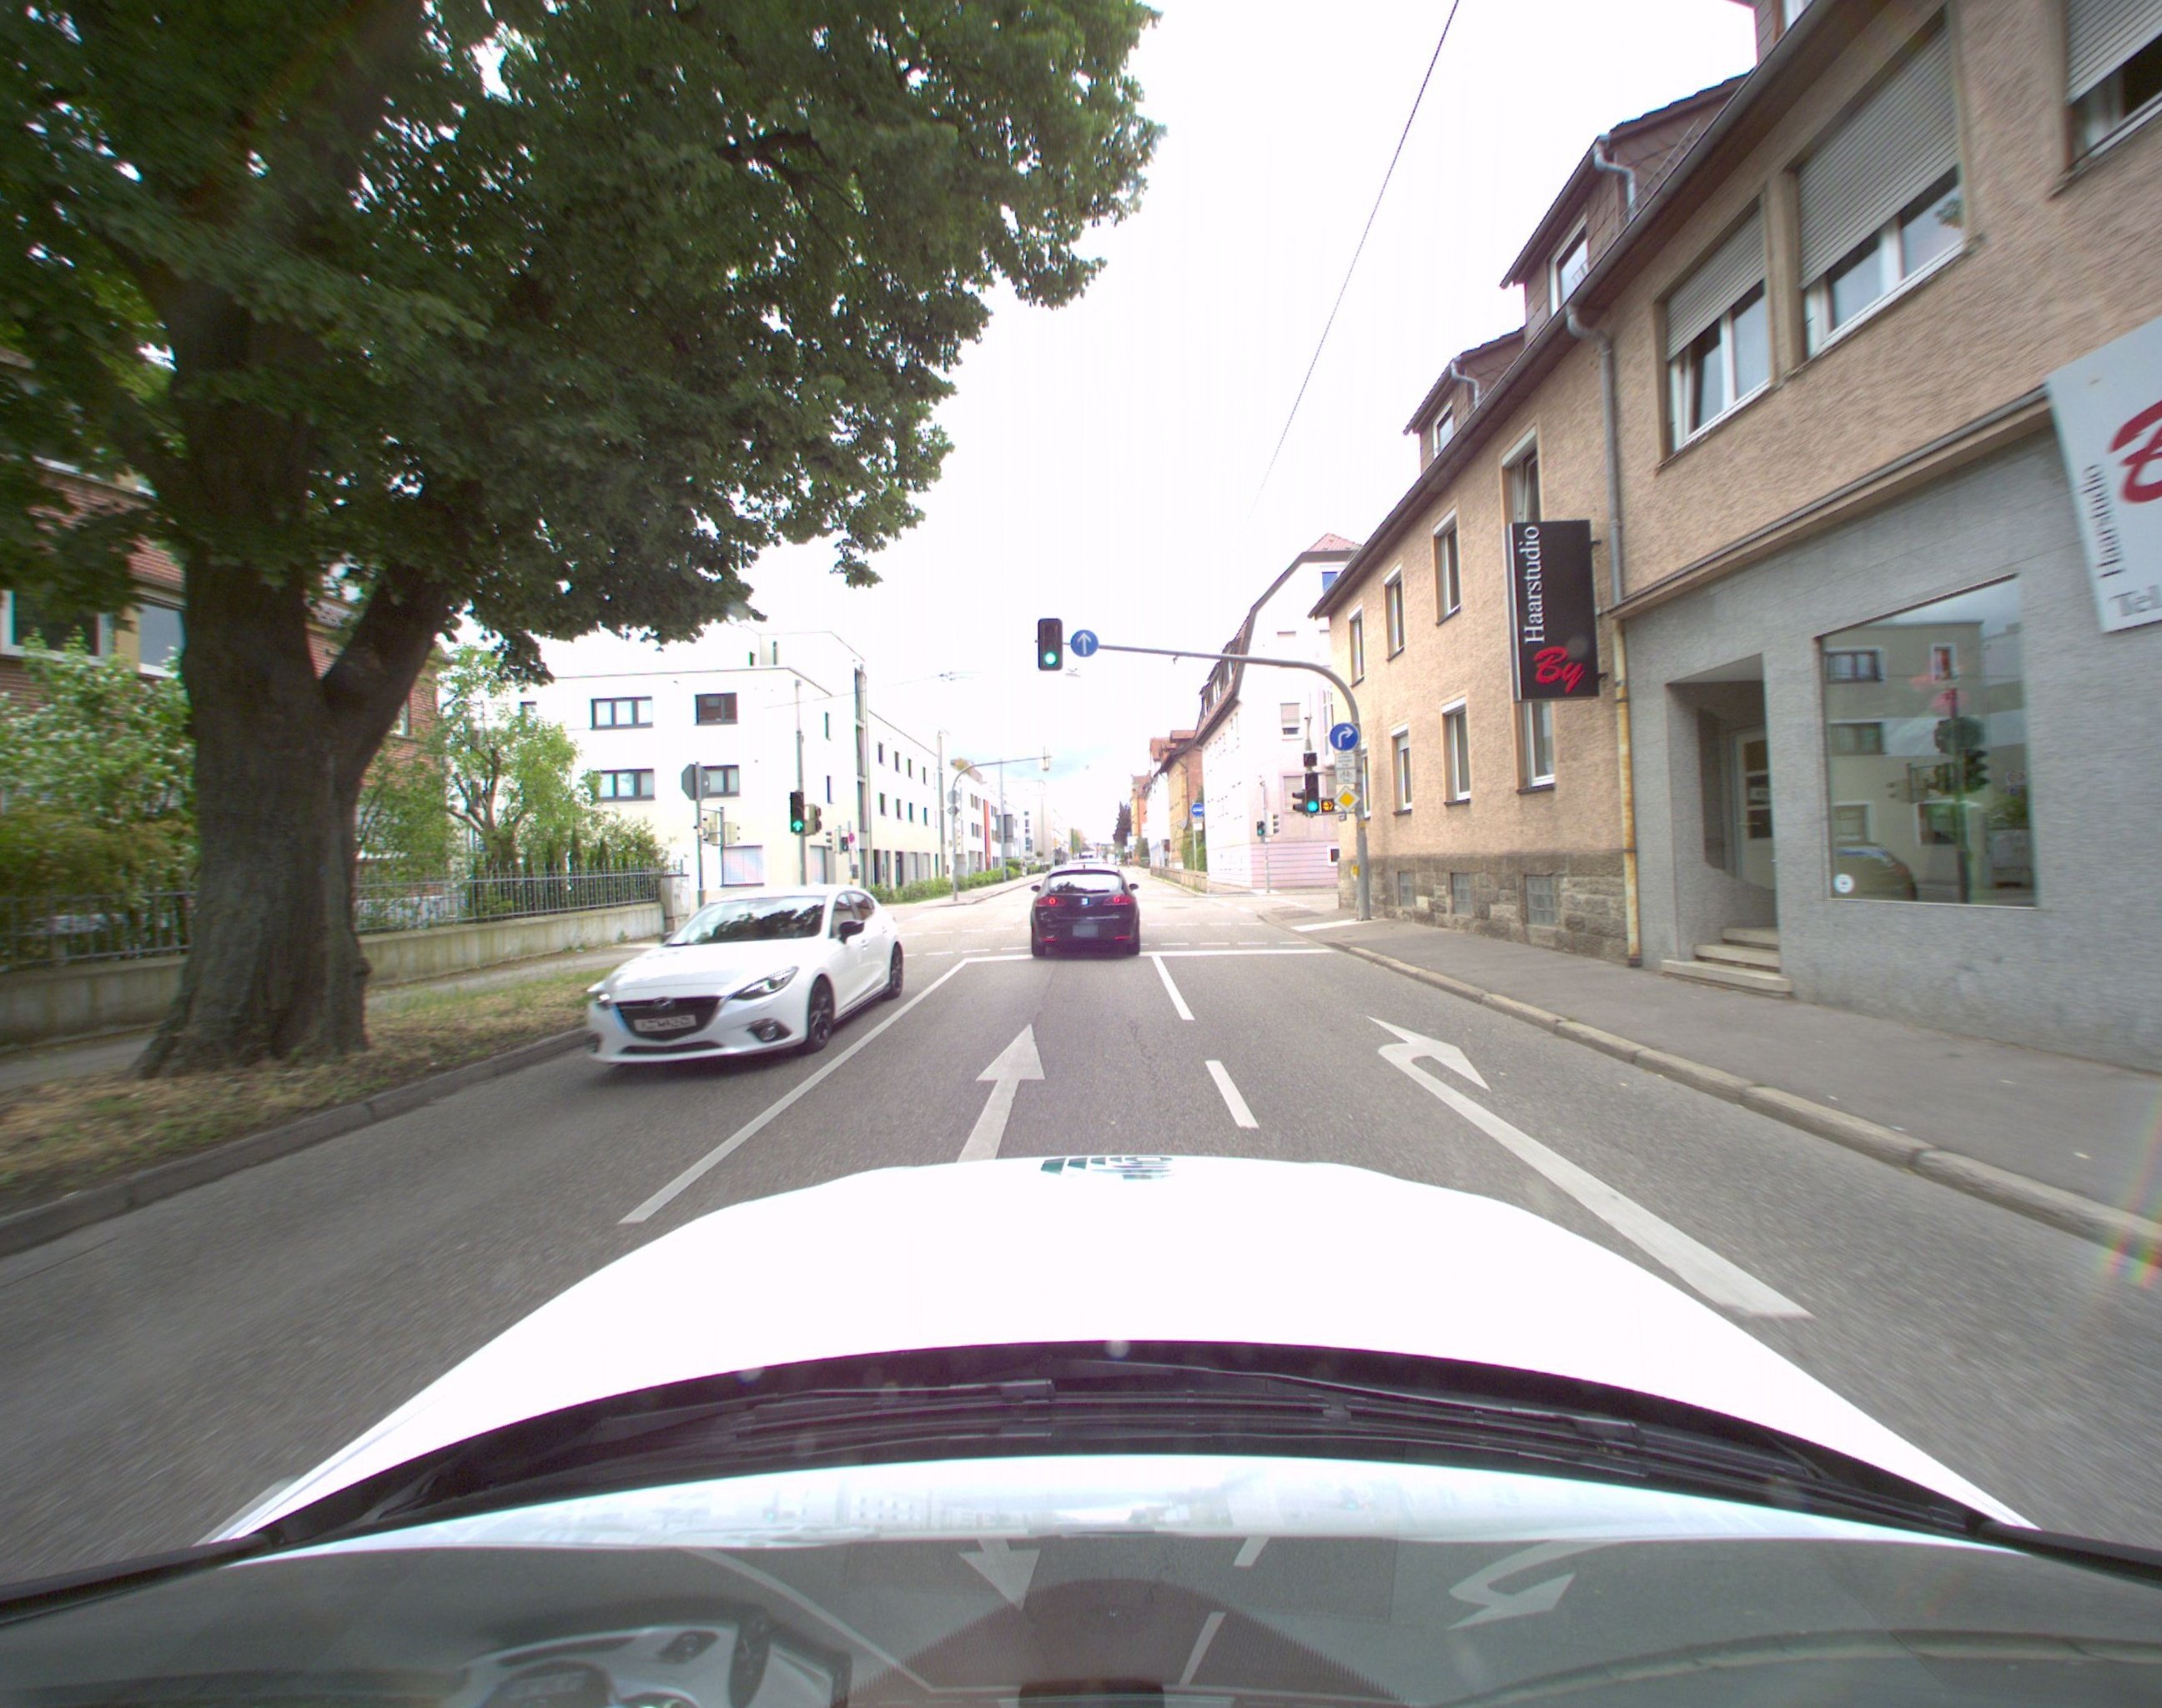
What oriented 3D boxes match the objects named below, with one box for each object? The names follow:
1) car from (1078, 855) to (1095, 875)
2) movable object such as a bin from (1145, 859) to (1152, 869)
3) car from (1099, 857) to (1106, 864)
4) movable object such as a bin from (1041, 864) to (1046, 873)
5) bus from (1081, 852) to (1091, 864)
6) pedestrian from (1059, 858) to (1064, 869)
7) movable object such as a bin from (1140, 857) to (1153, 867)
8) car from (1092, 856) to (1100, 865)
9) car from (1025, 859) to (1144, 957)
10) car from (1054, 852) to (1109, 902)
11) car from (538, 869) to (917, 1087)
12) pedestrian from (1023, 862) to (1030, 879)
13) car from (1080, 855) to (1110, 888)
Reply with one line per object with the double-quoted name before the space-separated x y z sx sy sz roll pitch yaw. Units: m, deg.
"car" 0.509 0.968 72.909 1.526 1.693 3.693 -1 -1 1
"movable object such as a bin" 9.198 1.386 110.927 0.925 1.283 0.883 -1 -1 2
"car" 5.352 1.714 204.182 1.526 1.693 3.693 -2 0 1
"movable object such as a bin" -4.523 1.756 98.350 0.547 1.078 0.612 -1 -1 2
"bus" 1.281 1.105 203.116 2.202 2.886 8.921 -1 -1 1
"pedestrian" -3.106 1.534 129.599 0.728 1.729 0.859 -1 -1 0
"movable object such as a bin" 9.256 1.152 115.208 1.811 1.437 1.994 -1 -1 2
"car" 3.268 1.410 176.728 1.526 1.693 3.694 -2 0 1
"car" 0.104 0.842 14.207 1.753 1.442 4.001 -1 -1 1
"car" 0.064 0.812 29.734 1.836 1.693 4.000 -1 -1 1
"car" -3.081 0.972 8.218 1.760 1.470 4.228 -5 -1 2
"pedestrian" -4.941 1.522 73.994 0.525 1.548 0.541 -1 -1 1
"car" 0.750 0.925 43.995 1.526 1.693 3.693 -1 -1 1
